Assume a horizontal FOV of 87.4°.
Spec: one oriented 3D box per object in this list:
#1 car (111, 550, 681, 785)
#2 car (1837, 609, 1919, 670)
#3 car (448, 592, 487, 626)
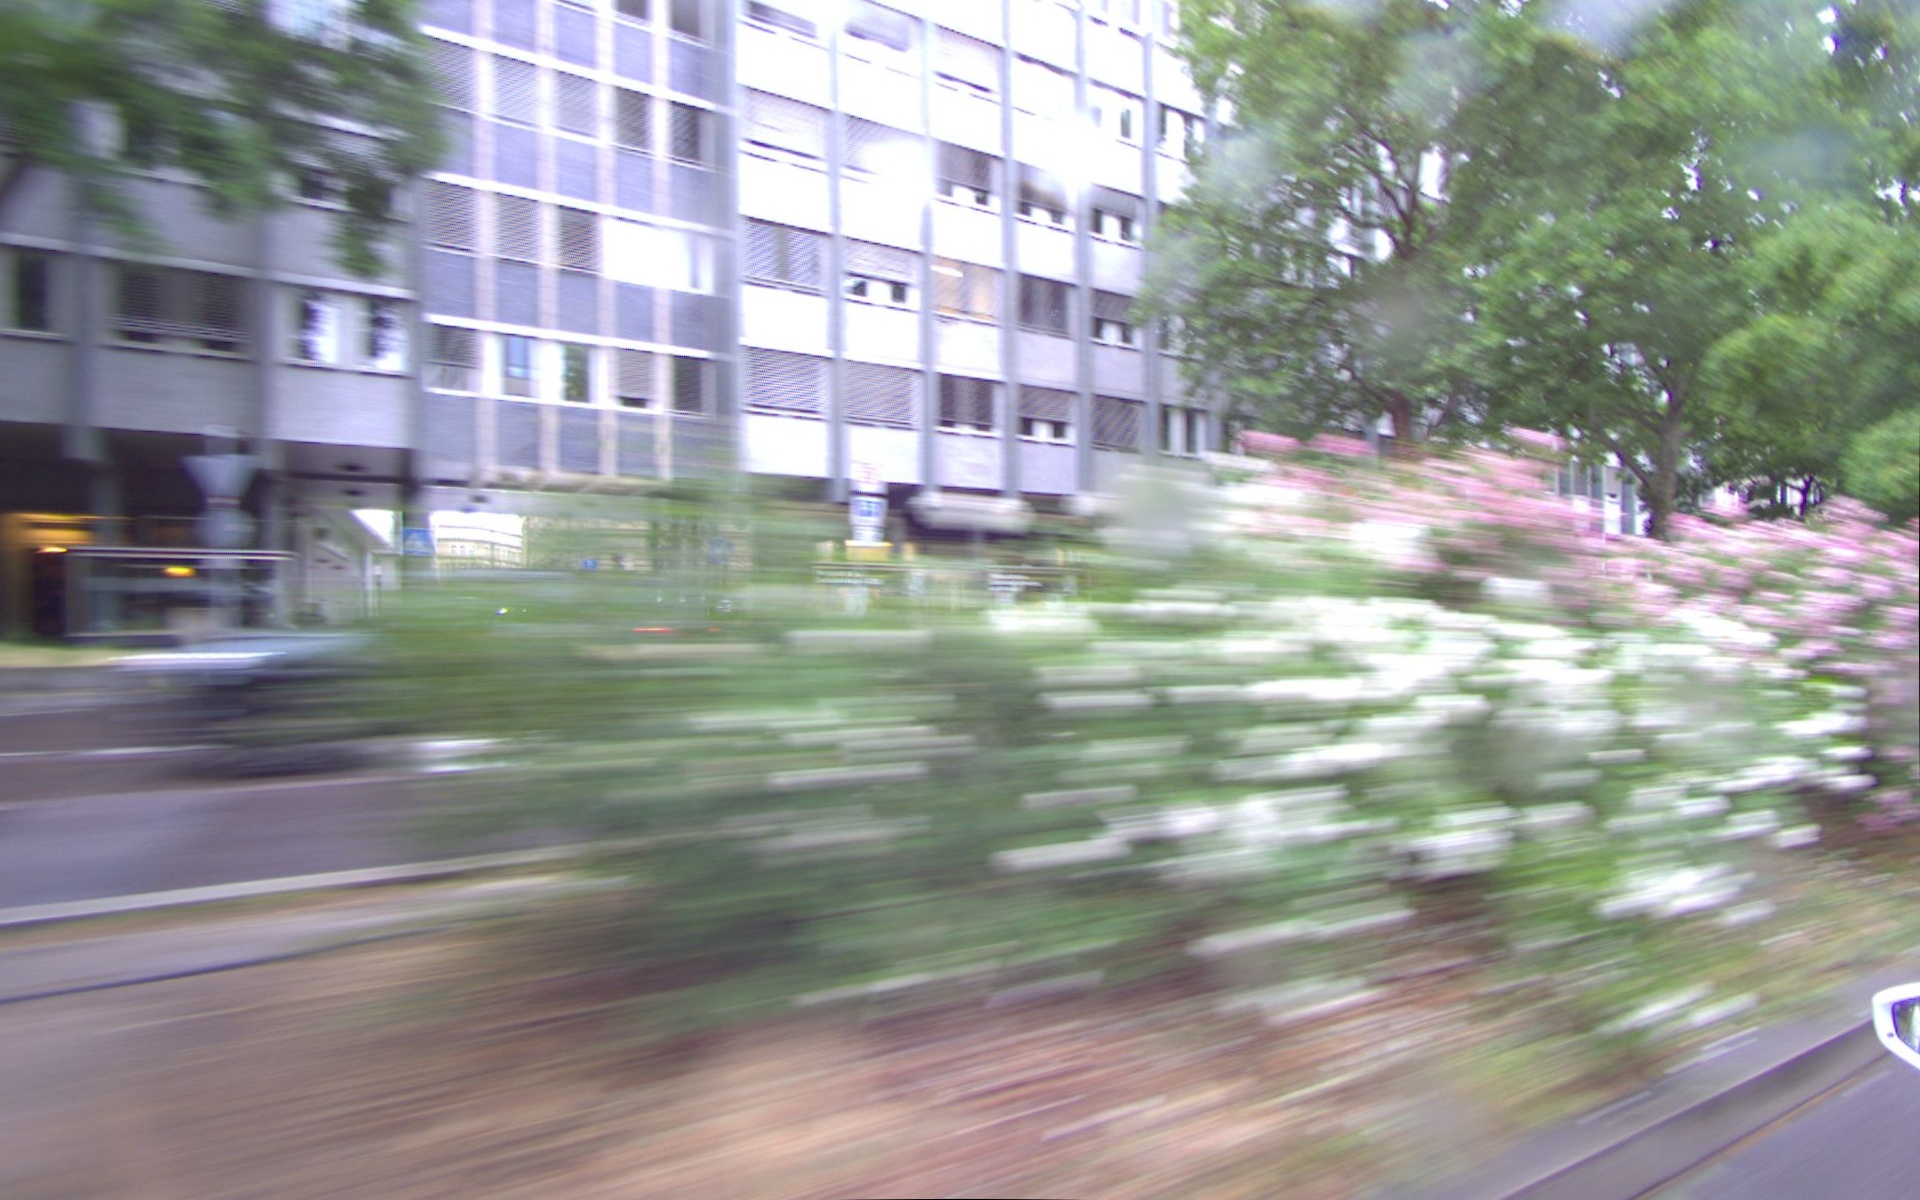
[{"bbox_3d":[-4.664,0.504,8.815,3.967,1.659,1.714,1,0,-30],"label":"car"},{"bbox_3d":[24.313,1.004,25.515,4.445,1.447,1.719,1,-3,-31],"label":"car"},{"bbox_3d":[-28.098,0.517,57.359,1.813,1.855,4.182,1,0,-24],"label":"car"}]
